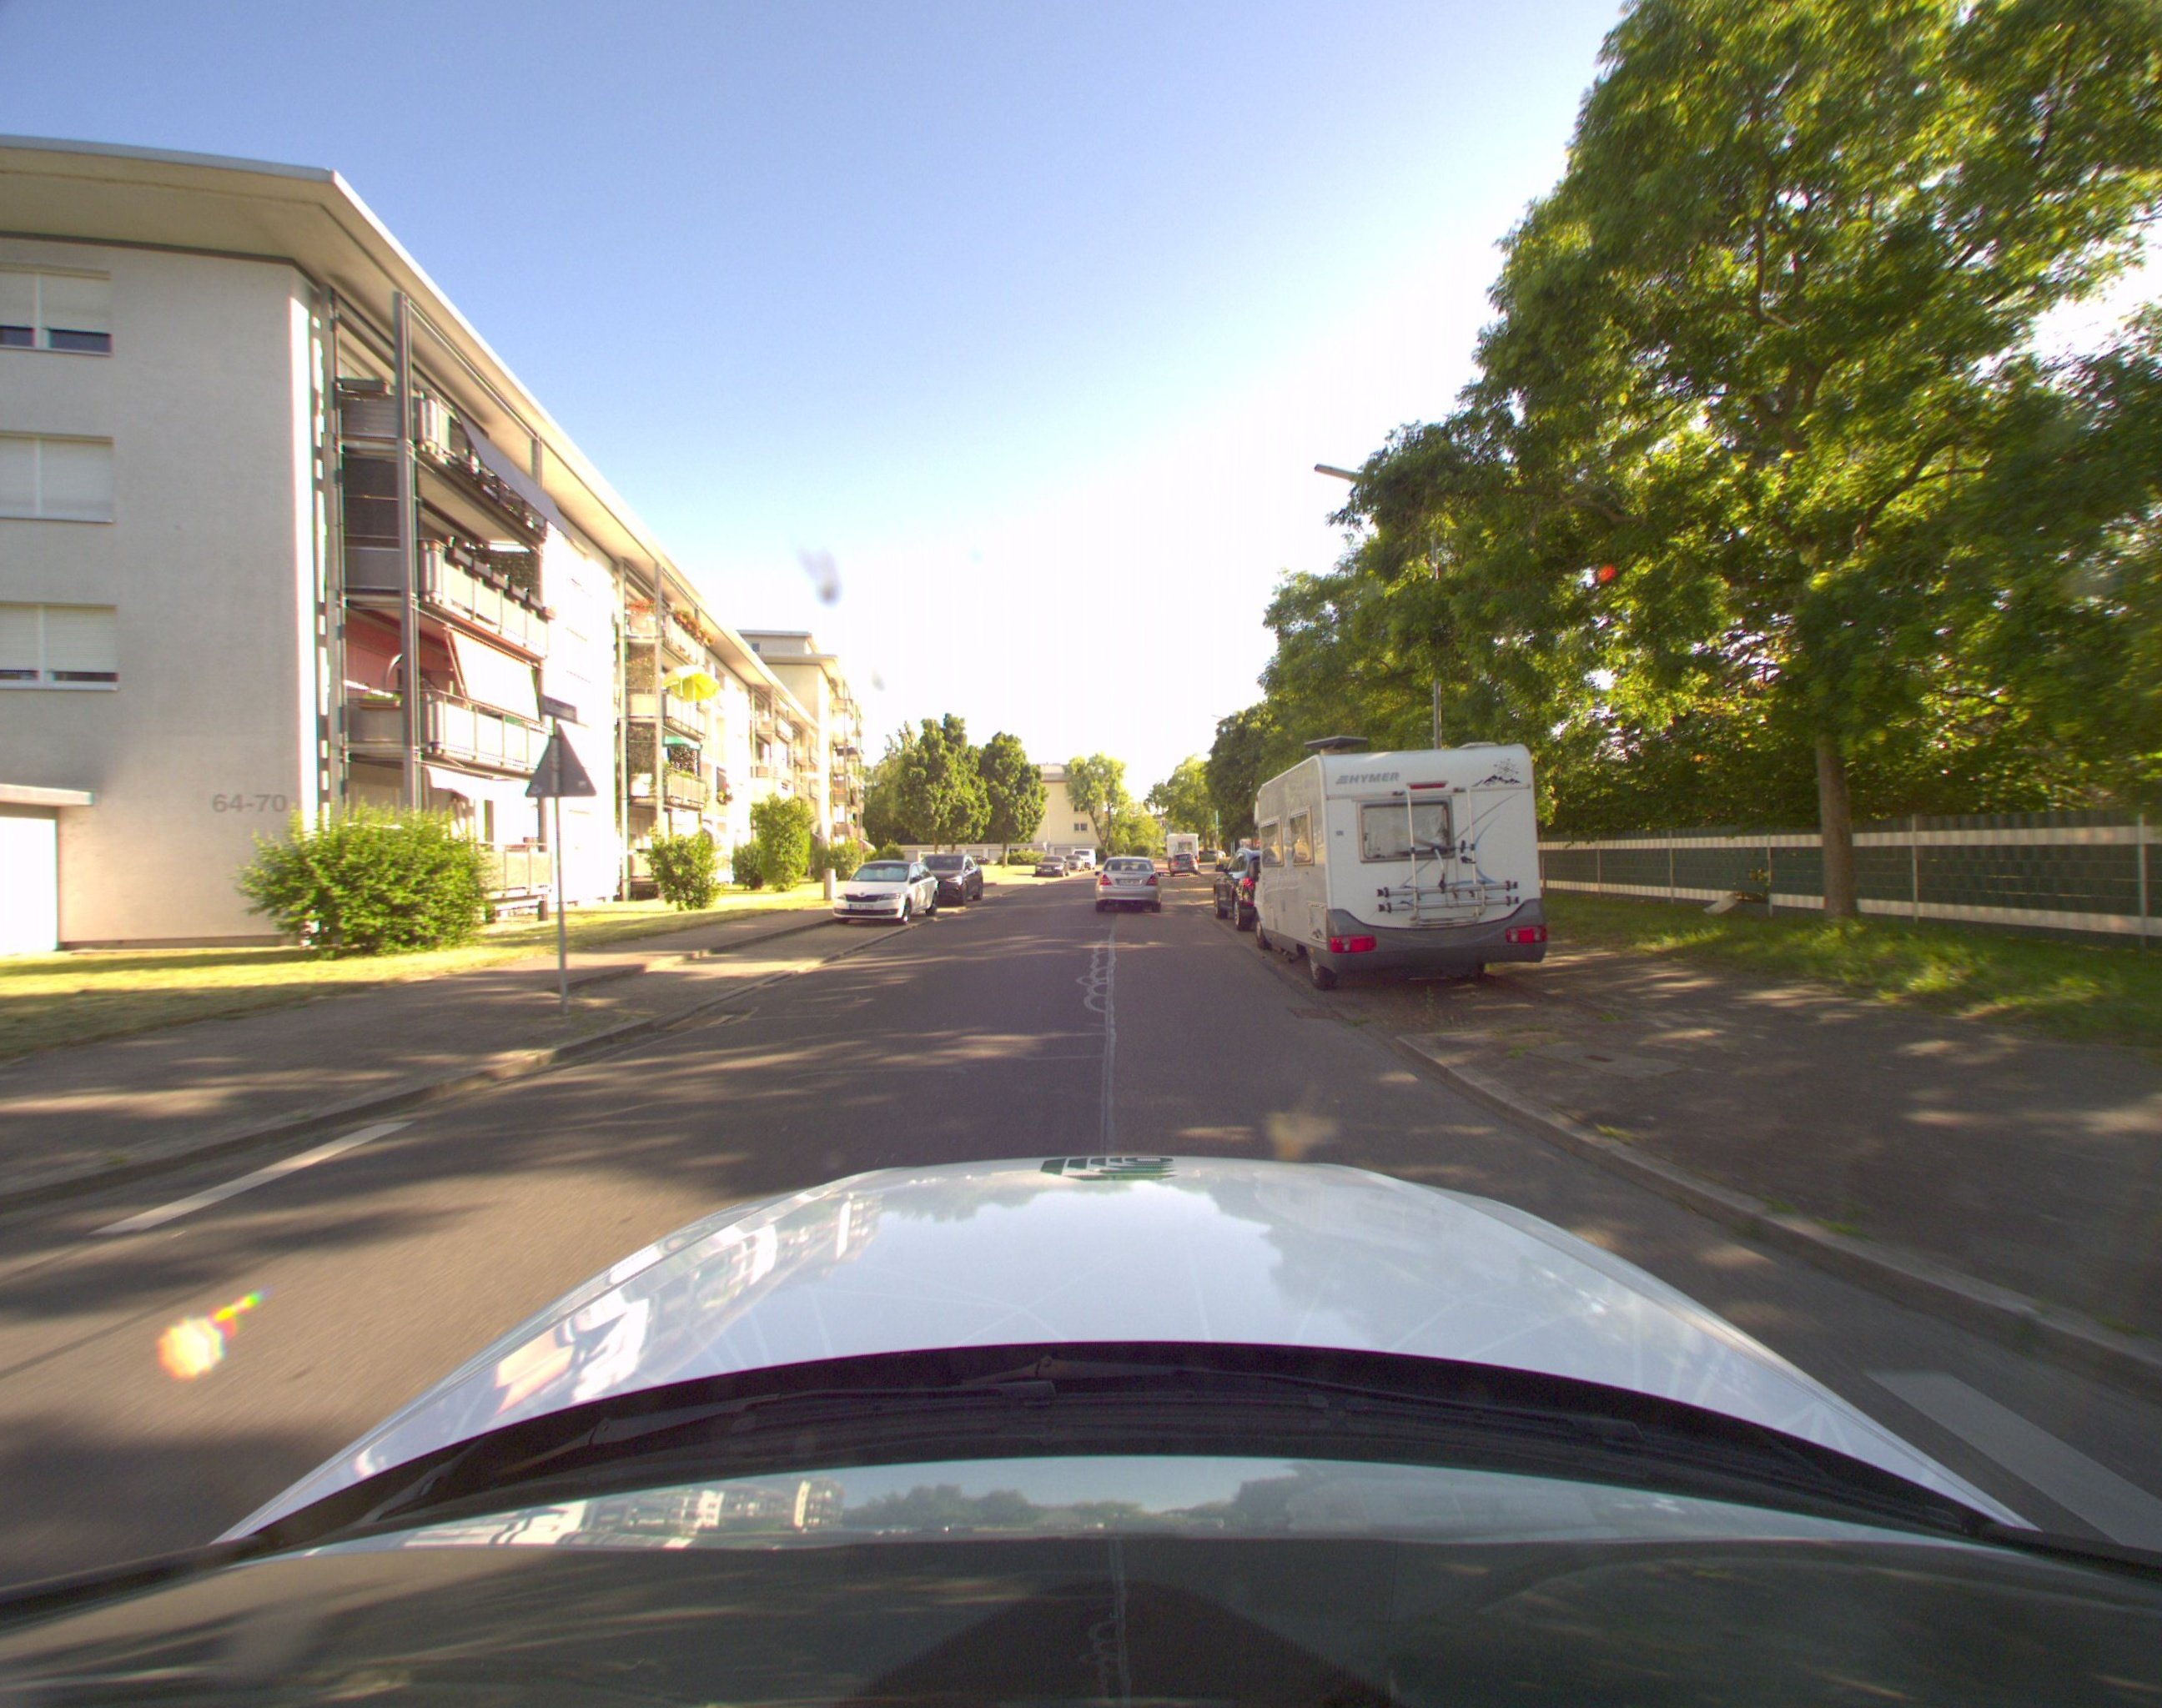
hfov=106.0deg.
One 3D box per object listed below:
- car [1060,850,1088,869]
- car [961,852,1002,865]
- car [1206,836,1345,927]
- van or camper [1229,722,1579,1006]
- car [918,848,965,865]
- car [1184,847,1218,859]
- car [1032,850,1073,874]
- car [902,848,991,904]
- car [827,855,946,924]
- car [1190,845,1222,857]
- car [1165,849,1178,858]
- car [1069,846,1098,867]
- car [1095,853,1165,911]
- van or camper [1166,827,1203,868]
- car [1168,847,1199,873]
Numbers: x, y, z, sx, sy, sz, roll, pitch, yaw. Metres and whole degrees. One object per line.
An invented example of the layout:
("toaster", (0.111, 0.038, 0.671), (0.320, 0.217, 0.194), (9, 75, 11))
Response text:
("car", (-0.549, 0.449, 68.201), (1.823, 1.518, 4.230), (1, 0, 7))
("car", (-11.909, 0.542, 97.605), (4.412, 1.460, 2.050), (-2, 0, 12))
("car", (4.091, 0.516, 17.950), (1.987, 1.640, 4.537), (-3, 0, 1))
("van or camper", (3.726, 0.079, 11.159), (2.342, 2.596, 6.430), (-4, 0, 3))
("car", (-16.911, 0.263, 98.744), (5.069, 1.951, 2.246), (-2, 0, 13))
("car", (16.997, -0.145, 115.603), (4.754, 1.549, 2.016), (-1, 0, 8))
("car", (-1.866, 0.497, 54.955), (2.024, 1.493, 5.265), (-1, 0, 6))
("car", (-4.289, 0.655, 26.685), (1.907, 1.604, 4.814), (-2, 0, 2))
("car", (-4.670, 0.793, 20.173), (1.639, 1.466, 4.335), (0, 0, 4))
("car", (20.413, -0.545, 132.859), (4.852, 1.723, 2.006), (-2, 0, 11))
("car", (17.595, -0.120, 158.783), (1.899, 1.490, 3.851), (-4, -1, 14))
("car", (0.264, 0.226, 74.660), (2.003, 1.885, 5.201), (0, 0, 7))
("car", (1.296, 0.702, 21.820), (1.726, 1.434, 3.440), (0, 0, 3))
("van or camper", (7.712, -0.512, 61.176), (2.484, 2.845, 6.862), (-2, 0, 5))
("car", (6.783, 0.375, 54.109), (1.712, 1.524, 4.434), (-4, 0, 4))
